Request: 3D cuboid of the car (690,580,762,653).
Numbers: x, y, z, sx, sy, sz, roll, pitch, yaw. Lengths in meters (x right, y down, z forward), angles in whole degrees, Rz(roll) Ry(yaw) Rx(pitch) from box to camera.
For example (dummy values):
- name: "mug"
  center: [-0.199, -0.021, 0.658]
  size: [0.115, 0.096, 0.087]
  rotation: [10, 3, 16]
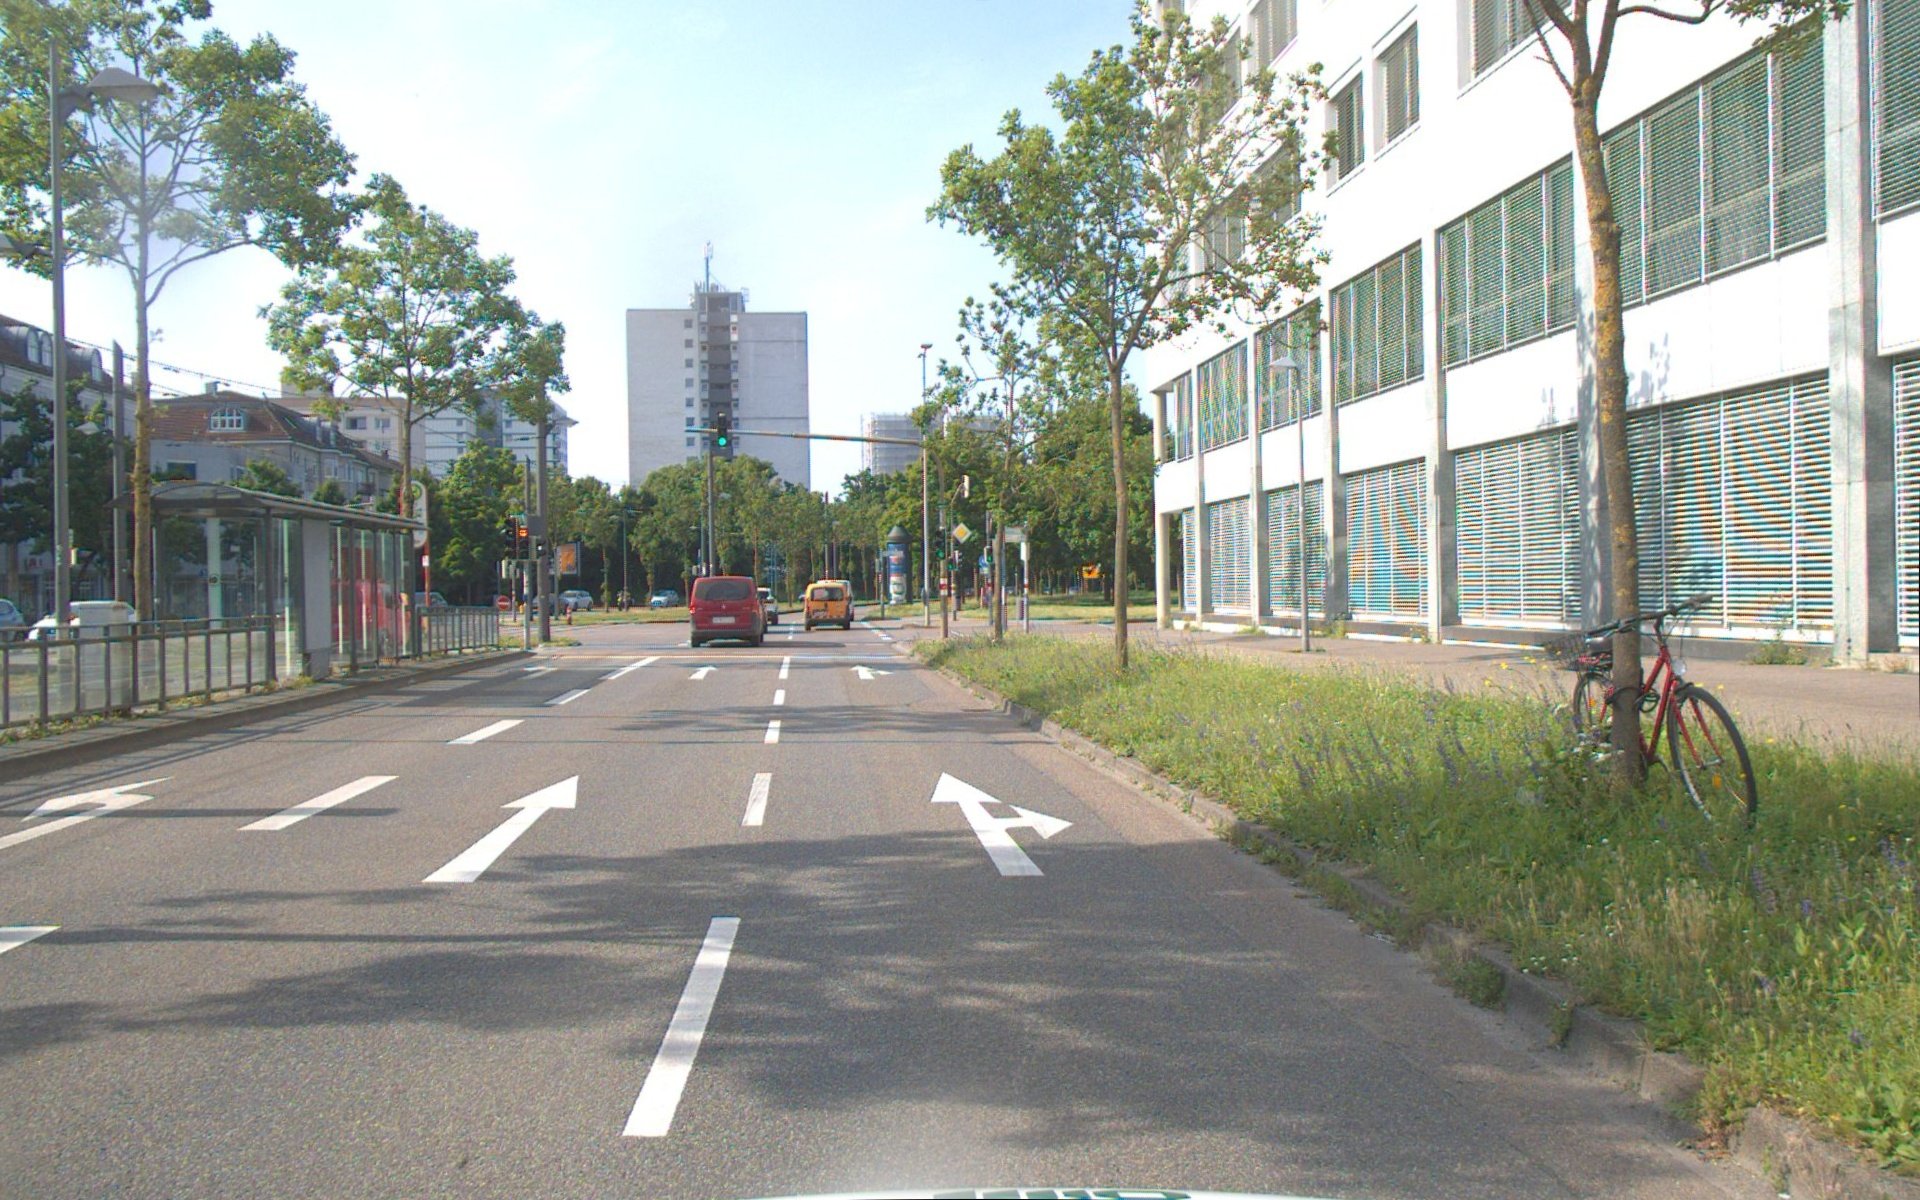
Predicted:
- name: "car"
  center: [-6.424, 0.429, 45.723]
  size: [1.839, 1.886, 3.994]
  rotation: [-1, 0, -7]

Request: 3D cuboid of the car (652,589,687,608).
- name: "car"
  center: [-24.699, -0.126, 140.792]
  size: [1.835, 1.601, 4.003]
  rotation: [-1, 0, 7]

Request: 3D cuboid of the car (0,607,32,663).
- name: "car"
  center: [-28.664, 1.001, 47.560]
  size: [1.954, 1.624, 3.996]
  rotation: [1, 0, -5]

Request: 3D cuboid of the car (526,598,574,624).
- name: "car"
  center: [-26.052, 0.709, 105.195]
  size: [1.836, 1.601, 4.001]
  rotation: [1, 0, 3]

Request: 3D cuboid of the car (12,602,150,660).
- name: "car"
  center: [-25.773, 0.876, 48.666]
  size: [1.953, 1.624, 4.048]
  rotation: [1, 0, -2]

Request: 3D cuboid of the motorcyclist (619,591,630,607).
- name: "motorcyclist"
  center: [-25.011, -0.042, 123.243]
  size: [0.606, 1.187, 0.551]
  rotation: [-1, 0, 8]

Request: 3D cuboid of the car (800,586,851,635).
- name: "car"
  center: [-5.019, 0.384, 61.652]
  size: [1.839, 1.726, 3.969]
  rotation: [-1, 0, -5]

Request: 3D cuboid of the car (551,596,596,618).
- name: "car"
  center: [-28.975, 0.524, 124.149]
  size: [1.835, 1.601, 4.225]
  rotation: [-1, 0, 8]

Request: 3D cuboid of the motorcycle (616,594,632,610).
- name: "motorcycle"
  center: [-25.014, 0.169, 123.198]
  size: [0.624, 1.187, 1.645]
  rotation: [-1, 0, 7]

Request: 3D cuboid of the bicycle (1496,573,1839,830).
- name: "bicycle"
  center: [3.192, 0.411, 7.677]
  size: [0.606, 1.035, 1.877]
  rotation: [-1, 0, -6]

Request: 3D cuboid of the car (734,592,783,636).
- name: "car"
  center: [-8.654, 0.576, 71.310]
  size: [1.955, 1.735, 3.995]
  rotation: [-2, 0, -6]

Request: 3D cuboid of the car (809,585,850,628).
- name: "car"
  center: [-6.541, 0.328, 82.559]
  size: [1.955, 2.049, 3.995]
  rotation: [1, 0, -6]

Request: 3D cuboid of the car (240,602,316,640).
- name: "car"
  center: [-30.159, 0.891, 73.271]
  size: [1.837, 1.601, 3.998]
  rotation: [-1, 0, -2]

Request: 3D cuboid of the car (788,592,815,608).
- name: "car"
  center: [-16.193, -0.016, 169.385]
  size: [1.835, 1.601, 4.003]
  rotation: [-1, 0, 9]
